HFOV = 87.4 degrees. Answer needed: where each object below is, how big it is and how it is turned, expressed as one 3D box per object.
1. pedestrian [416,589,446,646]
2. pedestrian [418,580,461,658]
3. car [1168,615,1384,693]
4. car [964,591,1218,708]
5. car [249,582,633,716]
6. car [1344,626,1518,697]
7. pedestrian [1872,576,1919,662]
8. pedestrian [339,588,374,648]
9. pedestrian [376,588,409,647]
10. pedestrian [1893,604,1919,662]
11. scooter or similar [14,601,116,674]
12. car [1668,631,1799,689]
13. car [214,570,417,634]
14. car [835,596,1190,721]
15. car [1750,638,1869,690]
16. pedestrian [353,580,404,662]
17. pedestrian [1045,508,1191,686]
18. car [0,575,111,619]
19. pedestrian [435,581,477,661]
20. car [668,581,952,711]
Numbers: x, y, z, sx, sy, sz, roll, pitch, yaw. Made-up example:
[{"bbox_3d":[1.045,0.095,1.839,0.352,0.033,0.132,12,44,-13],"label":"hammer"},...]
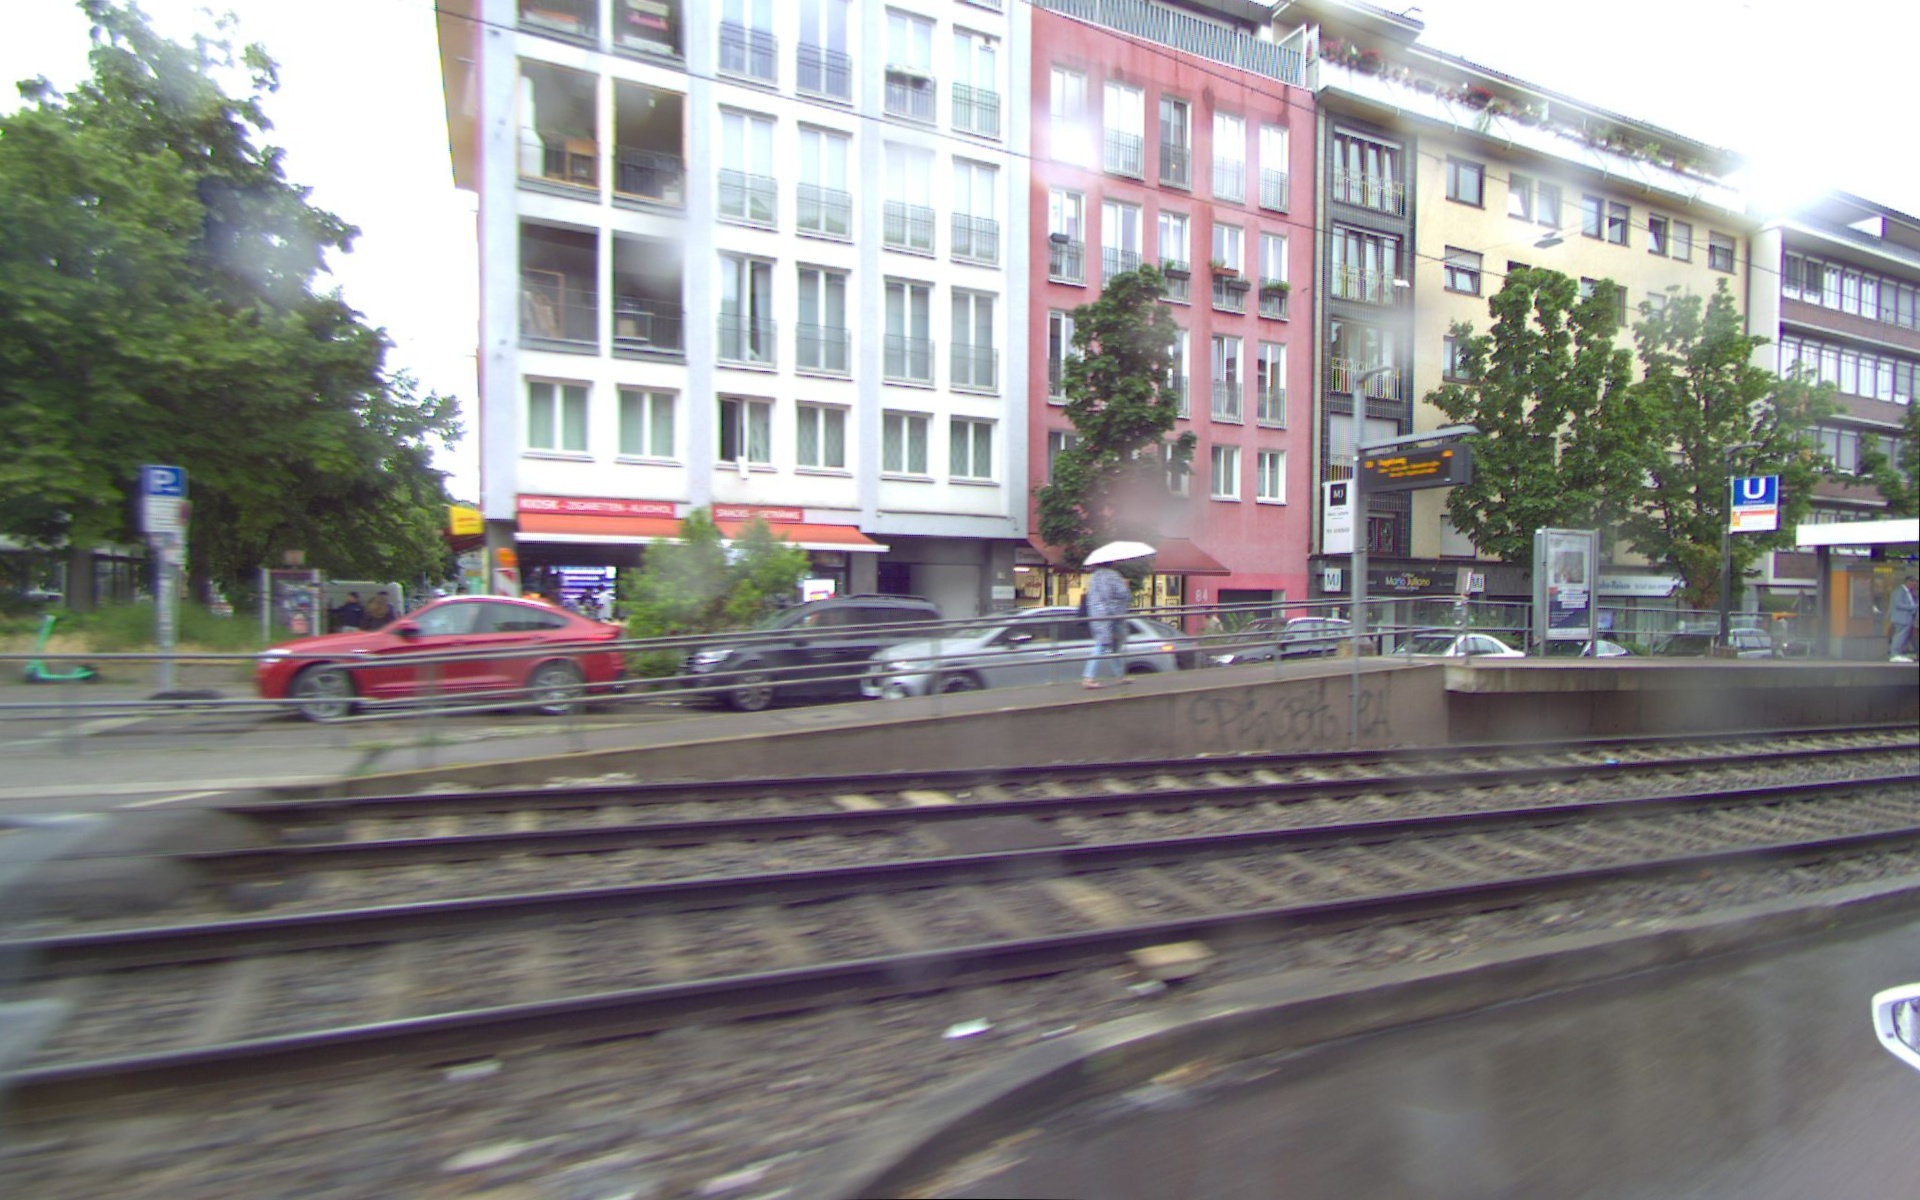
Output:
[{"bbox_3d":[-13.958,0.455,26.513,0.648,1.481,0.636,2,1,-27],"label":"pedestrian"},{"bbox_3d":[-11.320,0.403,21.852,0.571,1.653,0.608,3,1,39],"label":"pedestrian"},{"bbox_3d":[6.524,1.071,20.650,4.267,1.455,1.833,1,-1,-29],"label":"car"},{"bbox_3d":[2.389,0.852,18.094,4.326,1.883,1.795,1,-1,-28],"label":"car"},{"bbox_3d":[-6.998,0.631,14.010,4.490,1.633,1.721,1,-1,-25],"label":"car"},{"bbox_3d":[10.655,1.341,22.664,3.931,1.455,1.561,1,-1,-29],"label":"car"},{"bbox_3d":[19.413,0.393,20.716,0.839,1.734,0.653,1,0,-28],"label":"pedestrian"},{"bbox_3d":[-14.459,0.432,24.074,0.650,1.402,0.687,2,1,-27],"label":"pedestrian"},{"bbox_3d":[-13.992,0.424,24.771,0.642,1.424,0.557,2,1,-27],"label":"pedestrian"},{"bbox_3d":[21.324,0.726,22.269,0.873,1.265,0.690,1,-1,-28],"label":"pedestrian"},{"bbox_3d":[-15.219,0.644,17.106,1.195,1.207,0.388,2,-1,-25],"label":"scooter or similar"},{"bbox_3d":[21.358,1.623,27.718,3.690,1.455,1.561,1,-1,-29],"label":"car"},{"bbox_3d":[-27.598,0.146,43.424,7.001,2.567,2.409,1,-1,-24],"label":"car"},{"bbox_3d":[0.813,0.809,14.724,4.953,1.599,1.801,1,-1,-25],"label":"car"},{"bbox_3d":[25.803,1.899,30.488,3.690,1.455,1.561,1,-1,-29],"label":"car"},{"bbox_3d":[-12.053,0.422,20.835,0.796,1.653,0.877,-1,1,-25],"label":"pedestrian"},{"bbox_3d":[1.926,-0.008,12.365,1.365,2.040,1.112,2,-1,-26],"label":"pedestrian"},{"bbox_3d":[-49.395,-0.135,54.403,4.802,2.238,1.895,2,-1,-28],"label":"car"},{"bbox_3d":[-10.784,0.442,21.507,0.535,1.653,0.574,2,1,28],"label":"pedestrian"},{"bbox_3d":[-2.405,0.721,16.395,4.267,1.883,1.700,1,-1,-28],"label":"car"}]
